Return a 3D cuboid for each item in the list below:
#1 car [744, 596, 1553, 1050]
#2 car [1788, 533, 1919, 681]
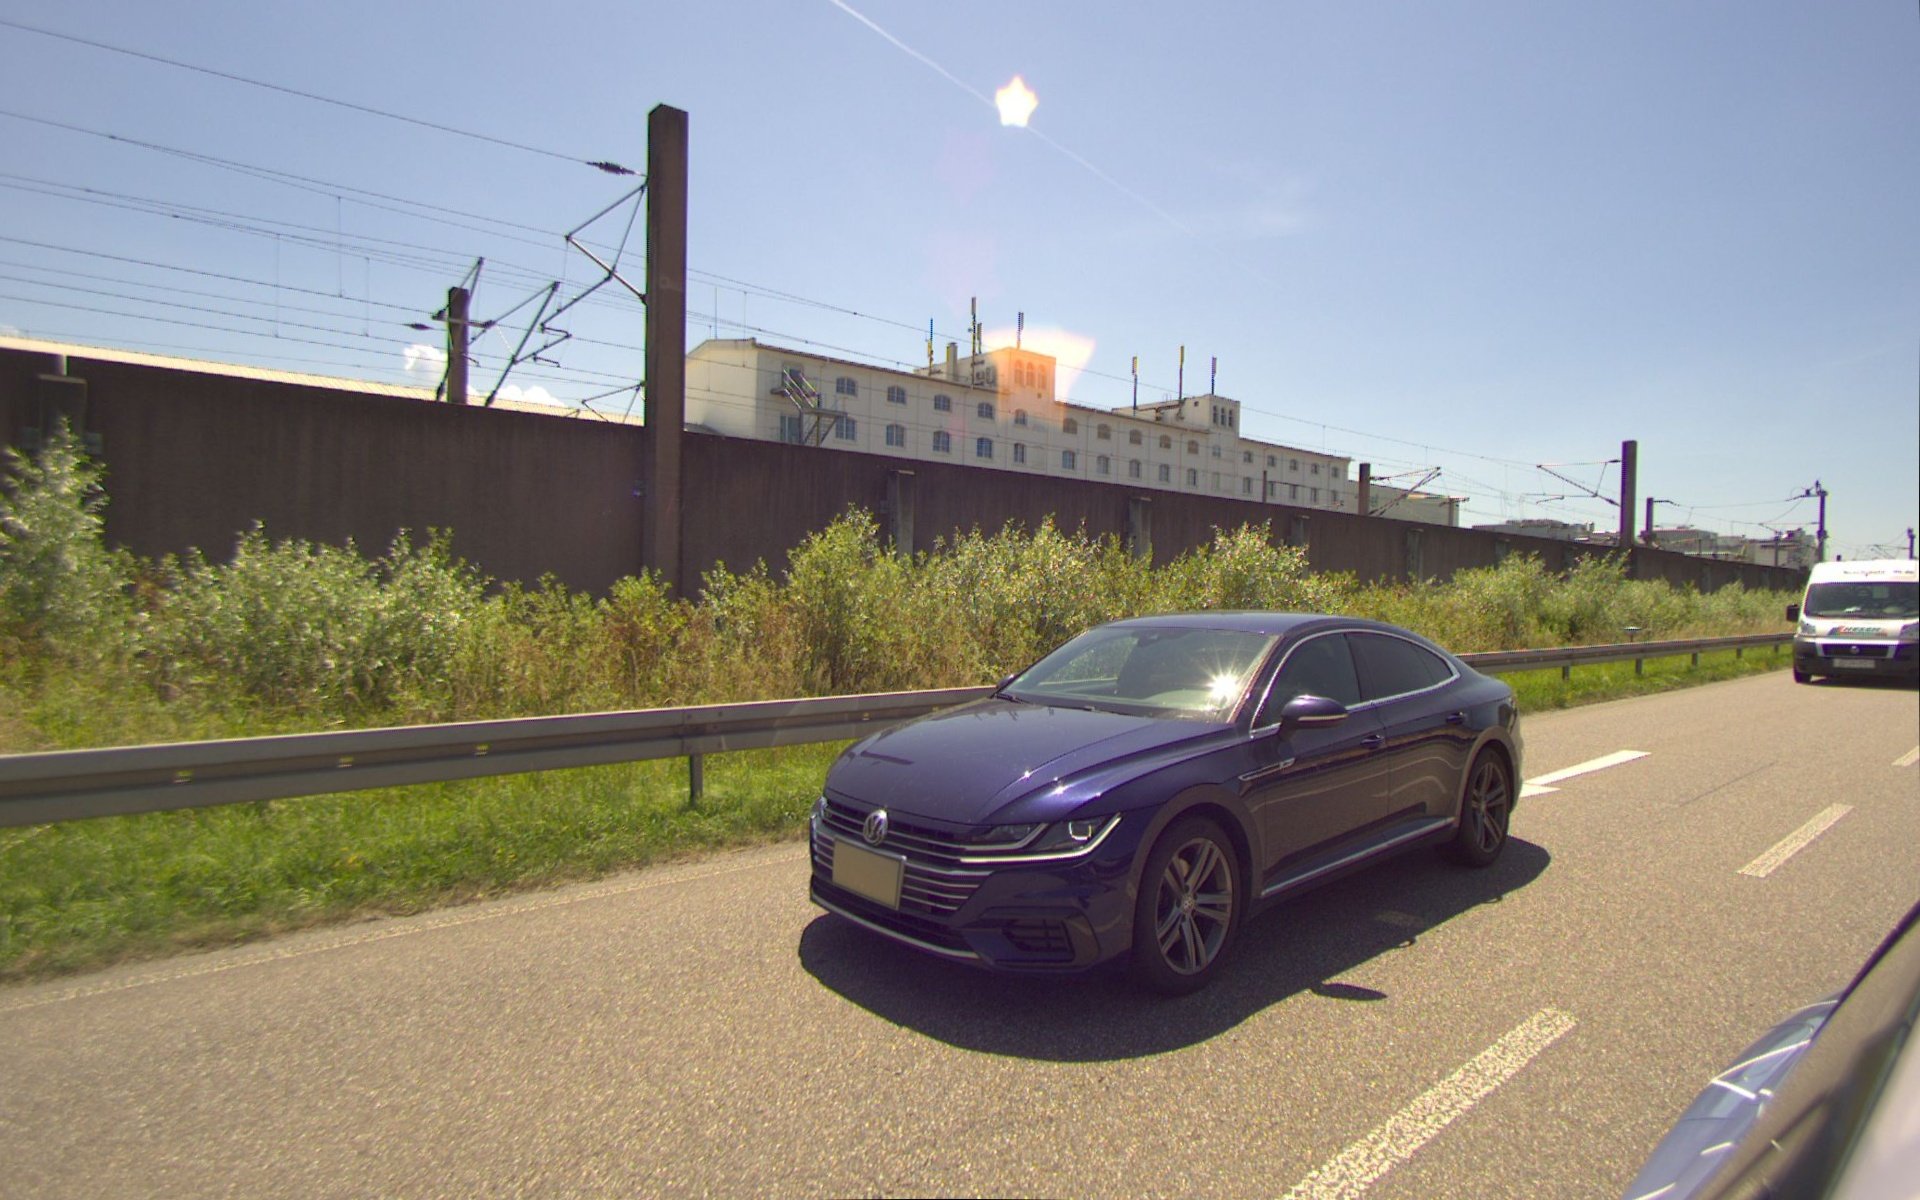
[{"bbox_3d":[1.294,0.693,5.299,4.425,1.397,1.859,0,-1,-42],"label":"car"},{"bbox_3d":[19.155,0.129,20.806,6.632,2.637,2.192,0,-1,-41],"label":"car"}]
